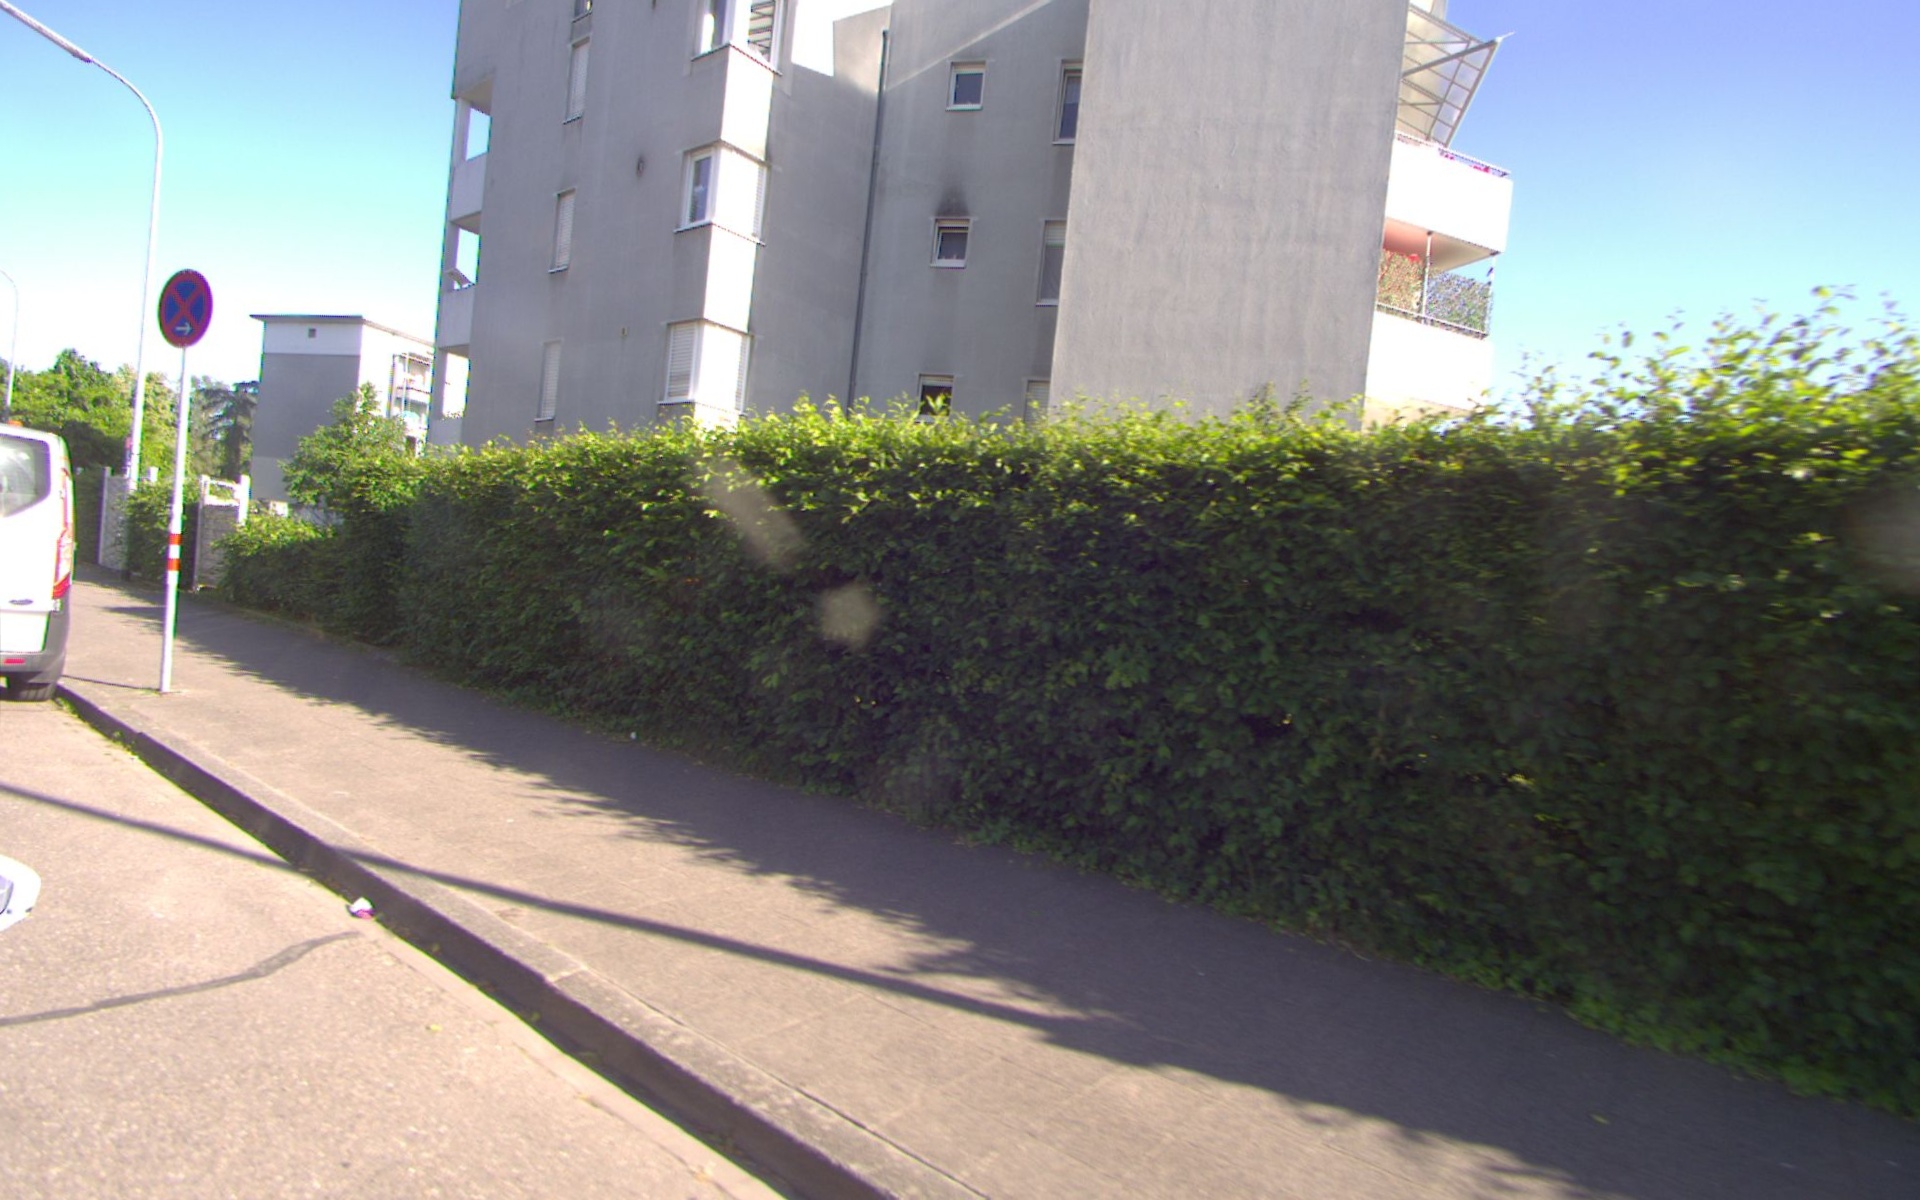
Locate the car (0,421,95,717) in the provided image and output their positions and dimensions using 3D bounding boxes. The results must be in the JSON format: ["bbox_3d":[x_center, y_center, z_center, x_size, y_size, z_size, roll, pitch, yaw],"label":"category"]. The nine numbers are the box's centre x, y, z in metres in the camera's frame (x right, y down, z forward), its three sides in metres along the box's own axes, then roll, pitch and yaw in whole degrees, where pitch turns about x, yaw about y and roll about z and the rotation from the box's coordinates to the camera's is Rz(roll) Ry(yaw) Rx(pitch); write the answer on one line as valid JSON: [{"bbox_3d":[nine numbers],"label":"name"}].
[{"bbox_3d":[-8.540,-0.439,7.663,4.881,1.936,1.992,6,0,39],"label":"car"}]
